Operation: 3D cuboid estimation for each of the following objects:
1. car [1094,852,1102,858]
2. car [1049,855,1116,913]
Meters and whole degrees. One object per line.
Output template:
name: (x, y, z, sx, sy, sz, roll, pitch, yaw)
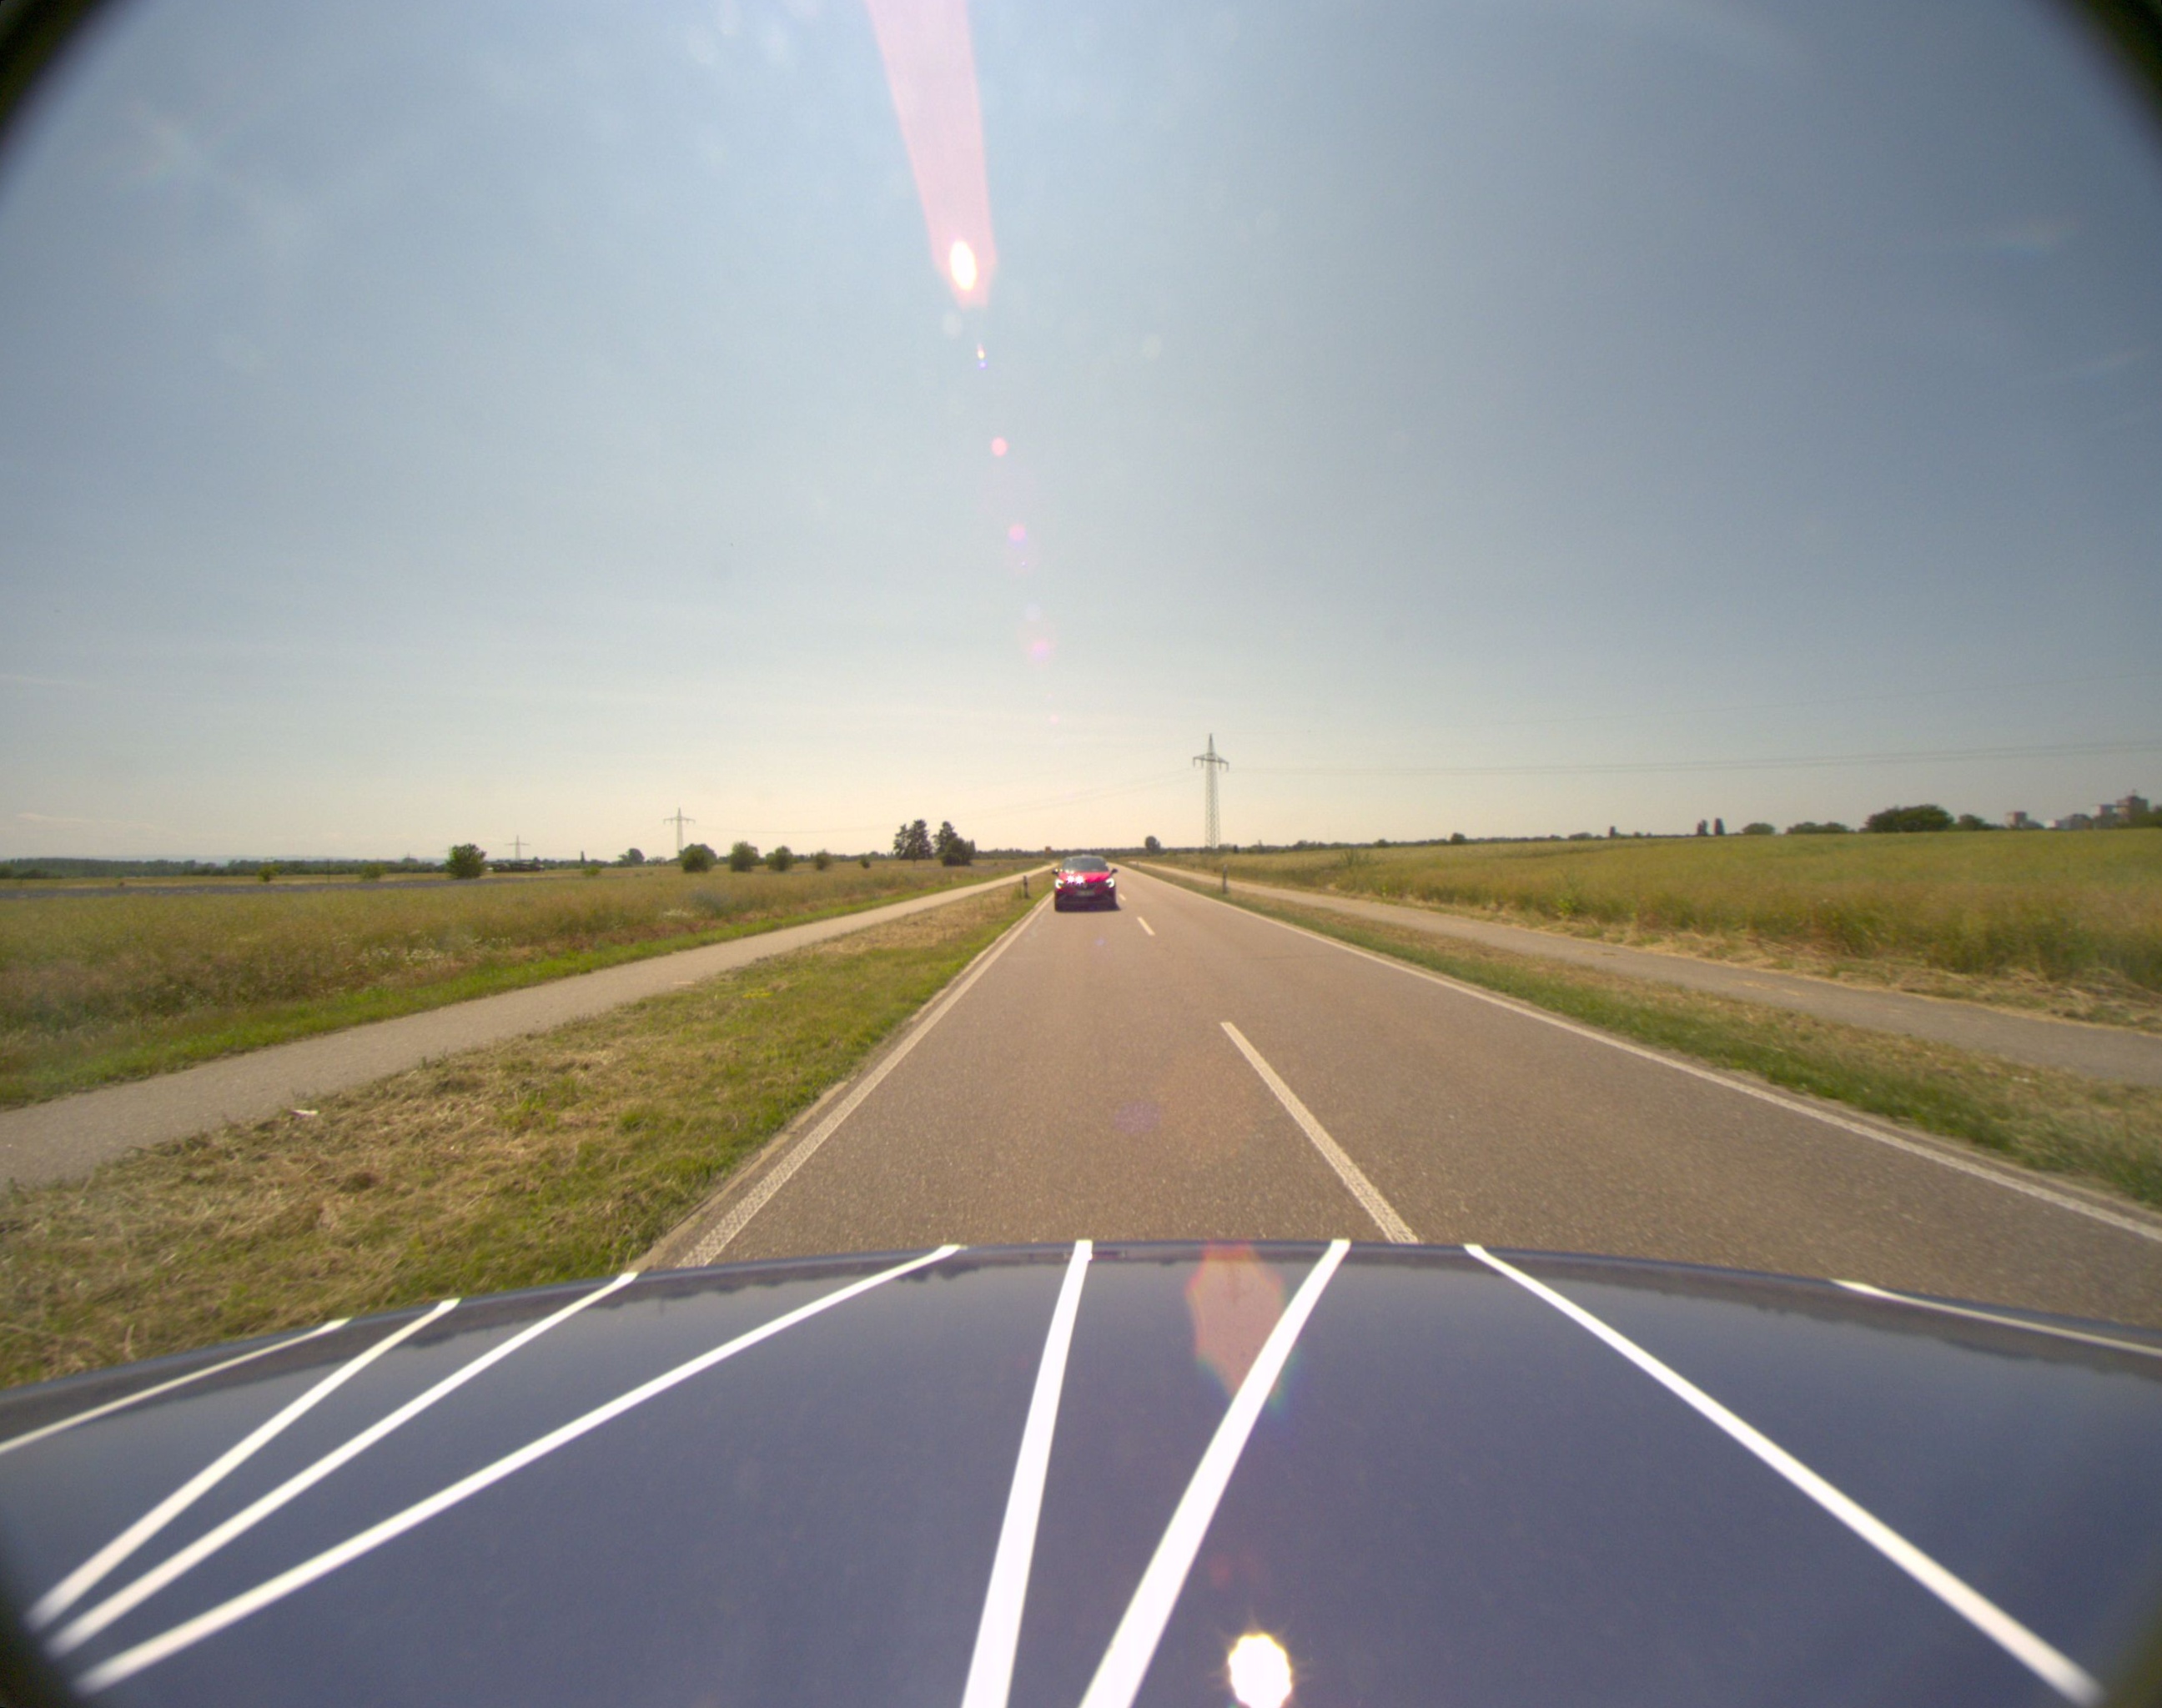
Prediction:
car: (4.061, 0.268, 178.682, 1.752, 1.392, 4.032, -2, 1, 1)
car: (0.096, 0.851, 23.847, 1.826, 1.543, 4.449, -2, 0, 1)
